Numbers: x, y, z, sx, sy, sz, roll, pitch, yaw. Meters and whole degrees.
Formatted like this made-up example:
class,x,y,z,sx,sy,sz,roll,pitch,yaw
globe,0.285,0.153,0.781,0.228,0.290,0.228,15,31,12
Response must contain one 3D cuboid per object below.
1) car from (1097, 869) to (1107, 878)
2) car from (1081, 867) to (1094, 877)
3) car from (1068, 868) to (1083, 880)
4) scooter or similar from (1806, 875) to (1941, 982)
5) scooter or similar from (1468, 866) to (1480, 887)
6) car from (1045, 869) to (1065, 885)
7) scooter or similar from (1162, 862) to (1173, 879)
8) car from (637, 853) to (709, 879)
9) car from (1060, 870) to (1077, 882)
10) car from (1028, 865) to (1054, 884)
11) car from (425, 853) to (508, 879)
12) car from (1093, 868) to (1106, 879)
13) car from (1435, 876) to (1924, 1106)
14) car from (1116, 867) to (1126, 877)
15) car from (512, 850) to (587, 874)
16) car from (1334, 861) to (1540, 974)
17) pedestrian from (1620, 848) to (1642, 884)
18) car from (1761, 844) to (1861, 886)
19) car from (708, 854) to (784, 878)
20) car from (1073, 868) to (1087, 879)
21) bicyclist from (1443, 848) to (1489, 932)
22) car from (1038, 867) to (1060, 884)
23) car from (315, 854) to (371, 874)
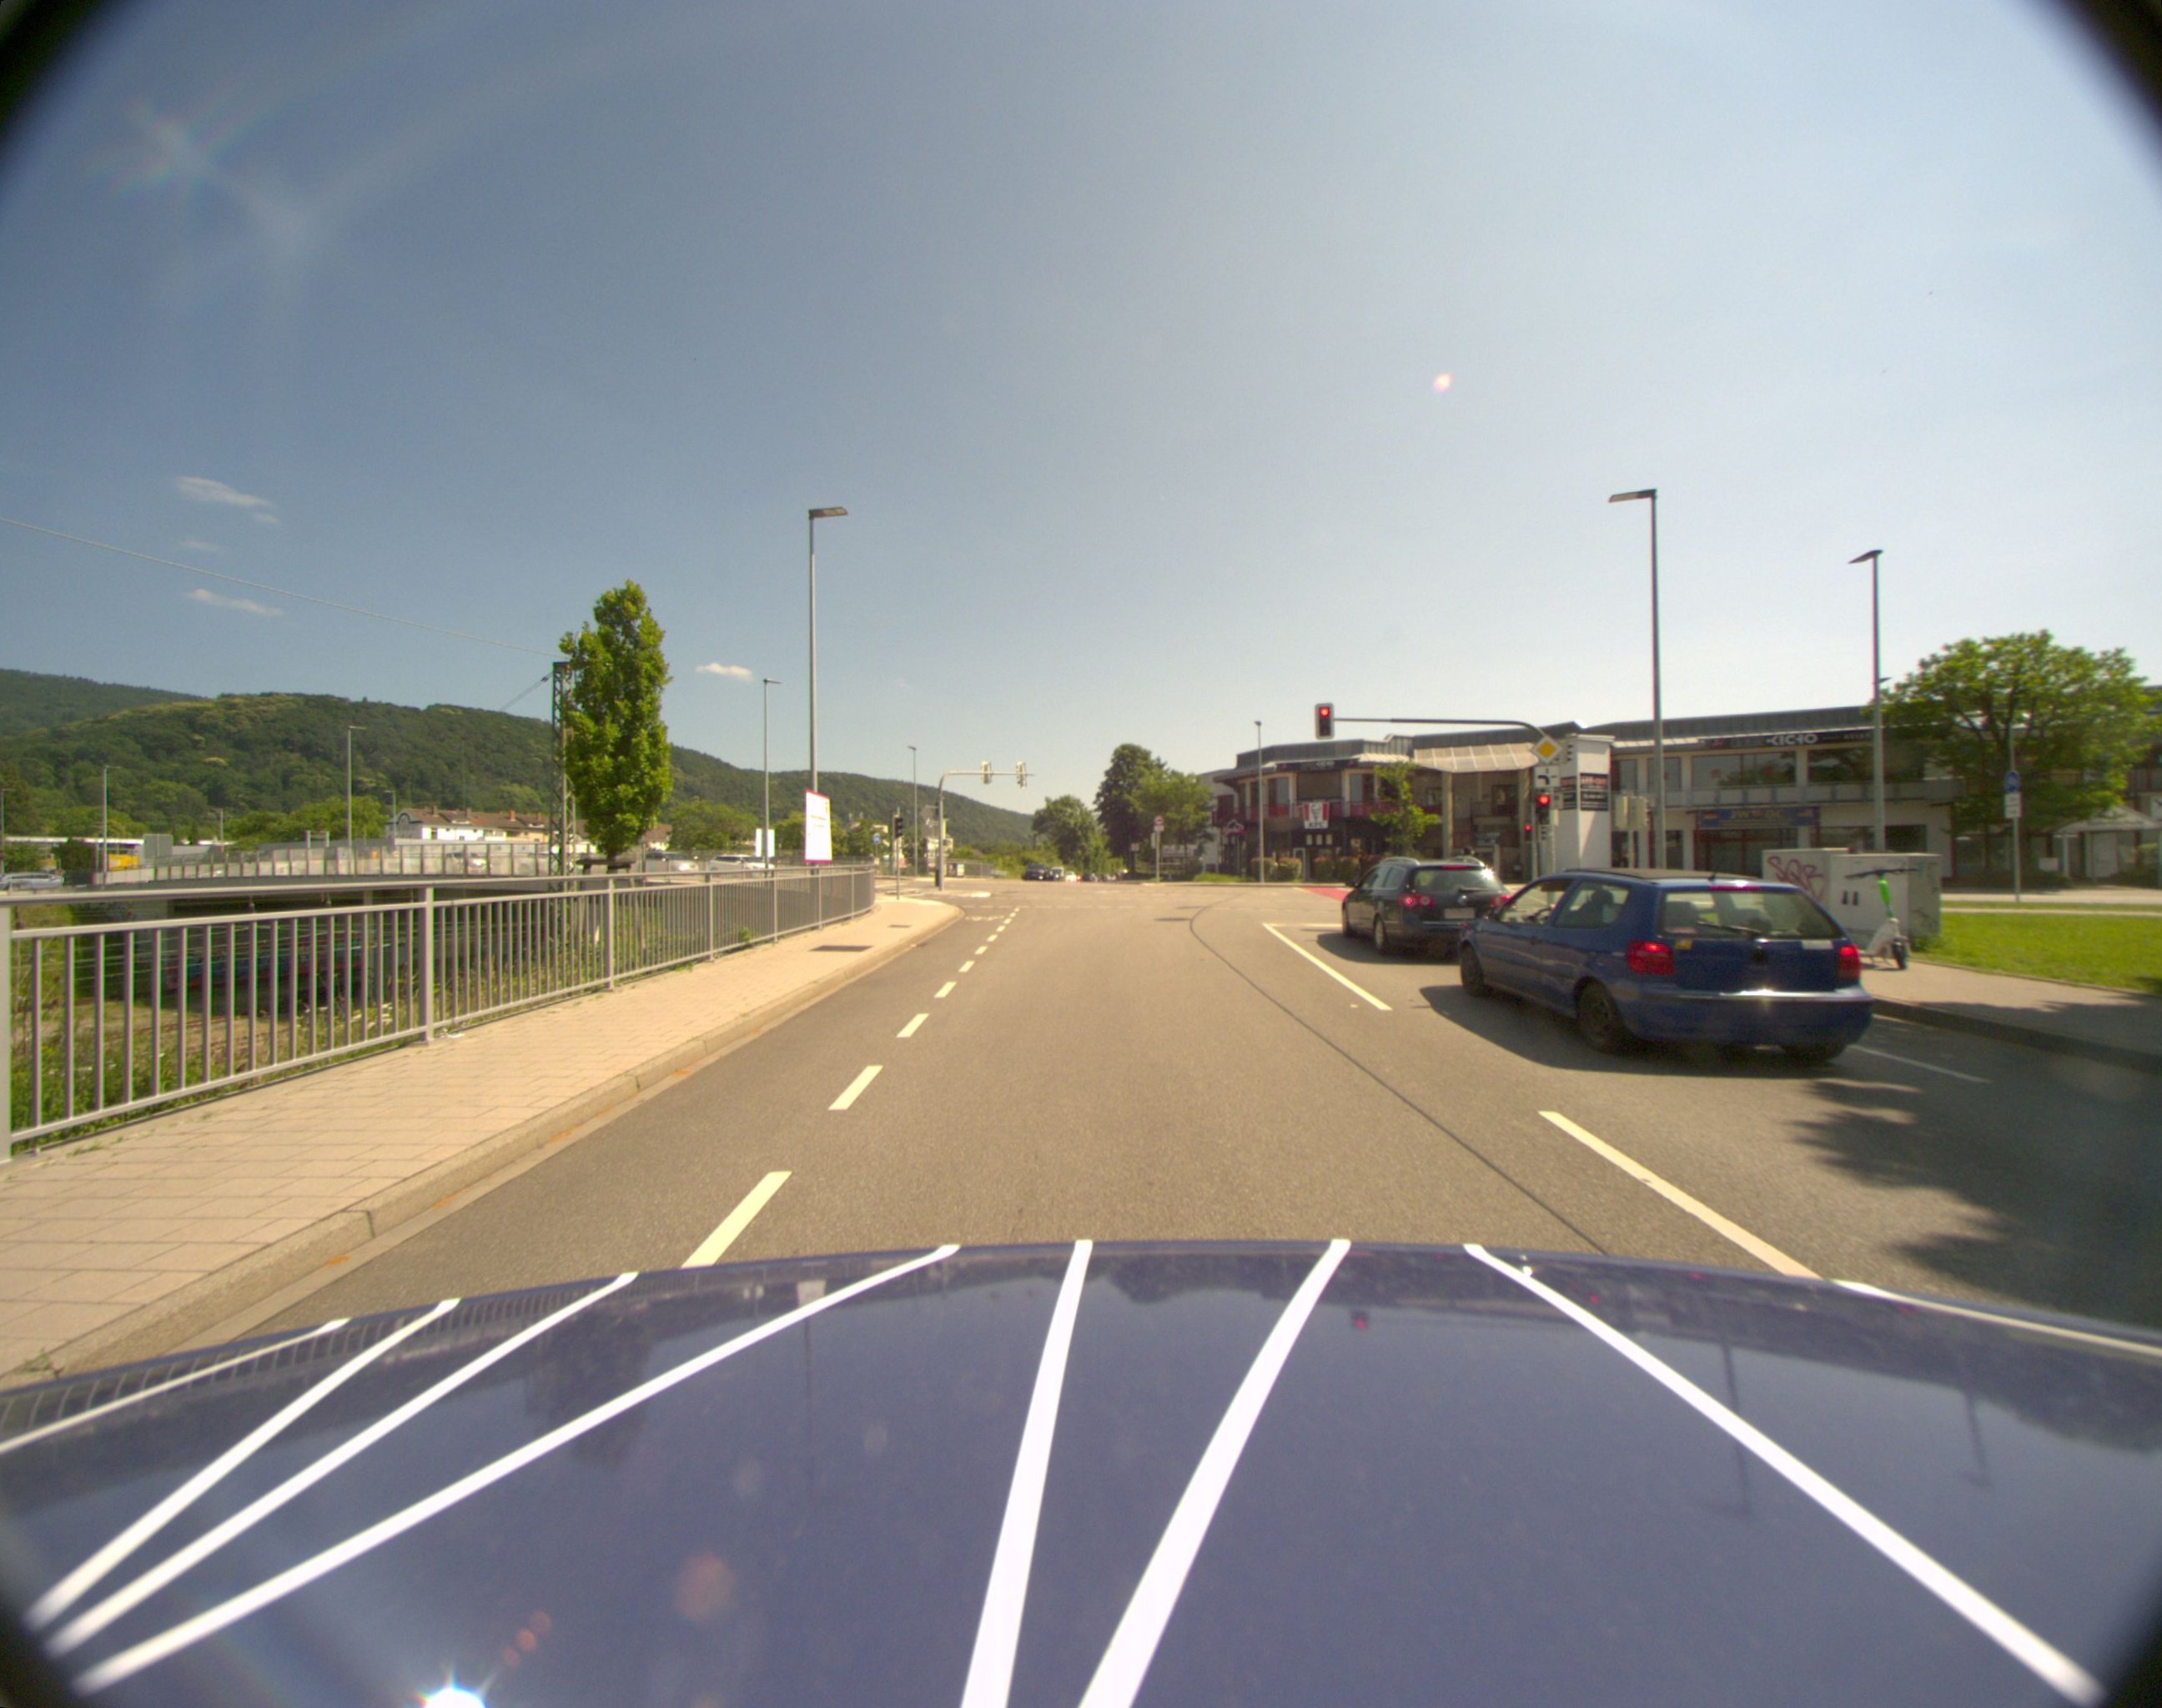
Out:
class,x,y,z,sx,sy,sz,roll,pitch,yaw
car,3.586,3.286,130.207,1.671,1.523,4.001,0,0,4
car,1.029,2.643,112.583,1.671,1.427,4.001,0,0,4
car,-0.698,2.515,95.674,1.671,1.523,4.001,0,0,4
scooter or similar,9.623,0.862,9.286,0.472,1.177,1.367,0,0,13
scooter or similar,21.248,1.190,41.085,0.499,1.117,1.507,0,0,31
car,-2.600,2.320,77.773,1.671,1.523,4.001,0,0,4
scooter or similar,5.897,1.135,51.755,0.426,1.117,1.453,0,0,17
car,-26.777,0.779,49.841,4.432,1.617,1.740,0,0,22
car,-1.463,2.510,88.278,1.671,1.309,4.001,0,0,4
car,-3.505,1.821,67.768,1.829,1.617,4.238,0,0,3
car,-41.535,0.814,51.373,4.624,1.709,2.002,0,0,16
car,3.051,3.211,123.939,1.671,1.523,4.002,-4,0,6
car,4.790,0.938,6.932,1.659,1.372,4.002,0,0,7
car,7.662,3.406,146.445,1.671,1.718,4.002,-4,0,6
car,-36.747,0.526,52.540,4.434,1.617,1.739,0,0,14
car,5.552,0.870,12.562,1.783,1.488,4.726,0,0,8
pedestrian,26.003,0.563,35.916,0.731,1.636,0.844,0,0,42
car,34.253,0.509,35.832,1.804,1.844,4.667,0,0,22
car,-20.600,0.734,46.699,4.400,1.461,1.740,0,0,22
car,-0.152,2.591,102.893,1.671,1.427,4.001,0,0,4
bicyclist,8.442,0.771,16.688,0.711,1.778,0.809,0,0,11
car,-3.077,2.067,72.885,1.671,1.523,4.001,0,0,4
car,-63.149,0.832,65.028,4.432,1.617,1.740,-1,0,22
